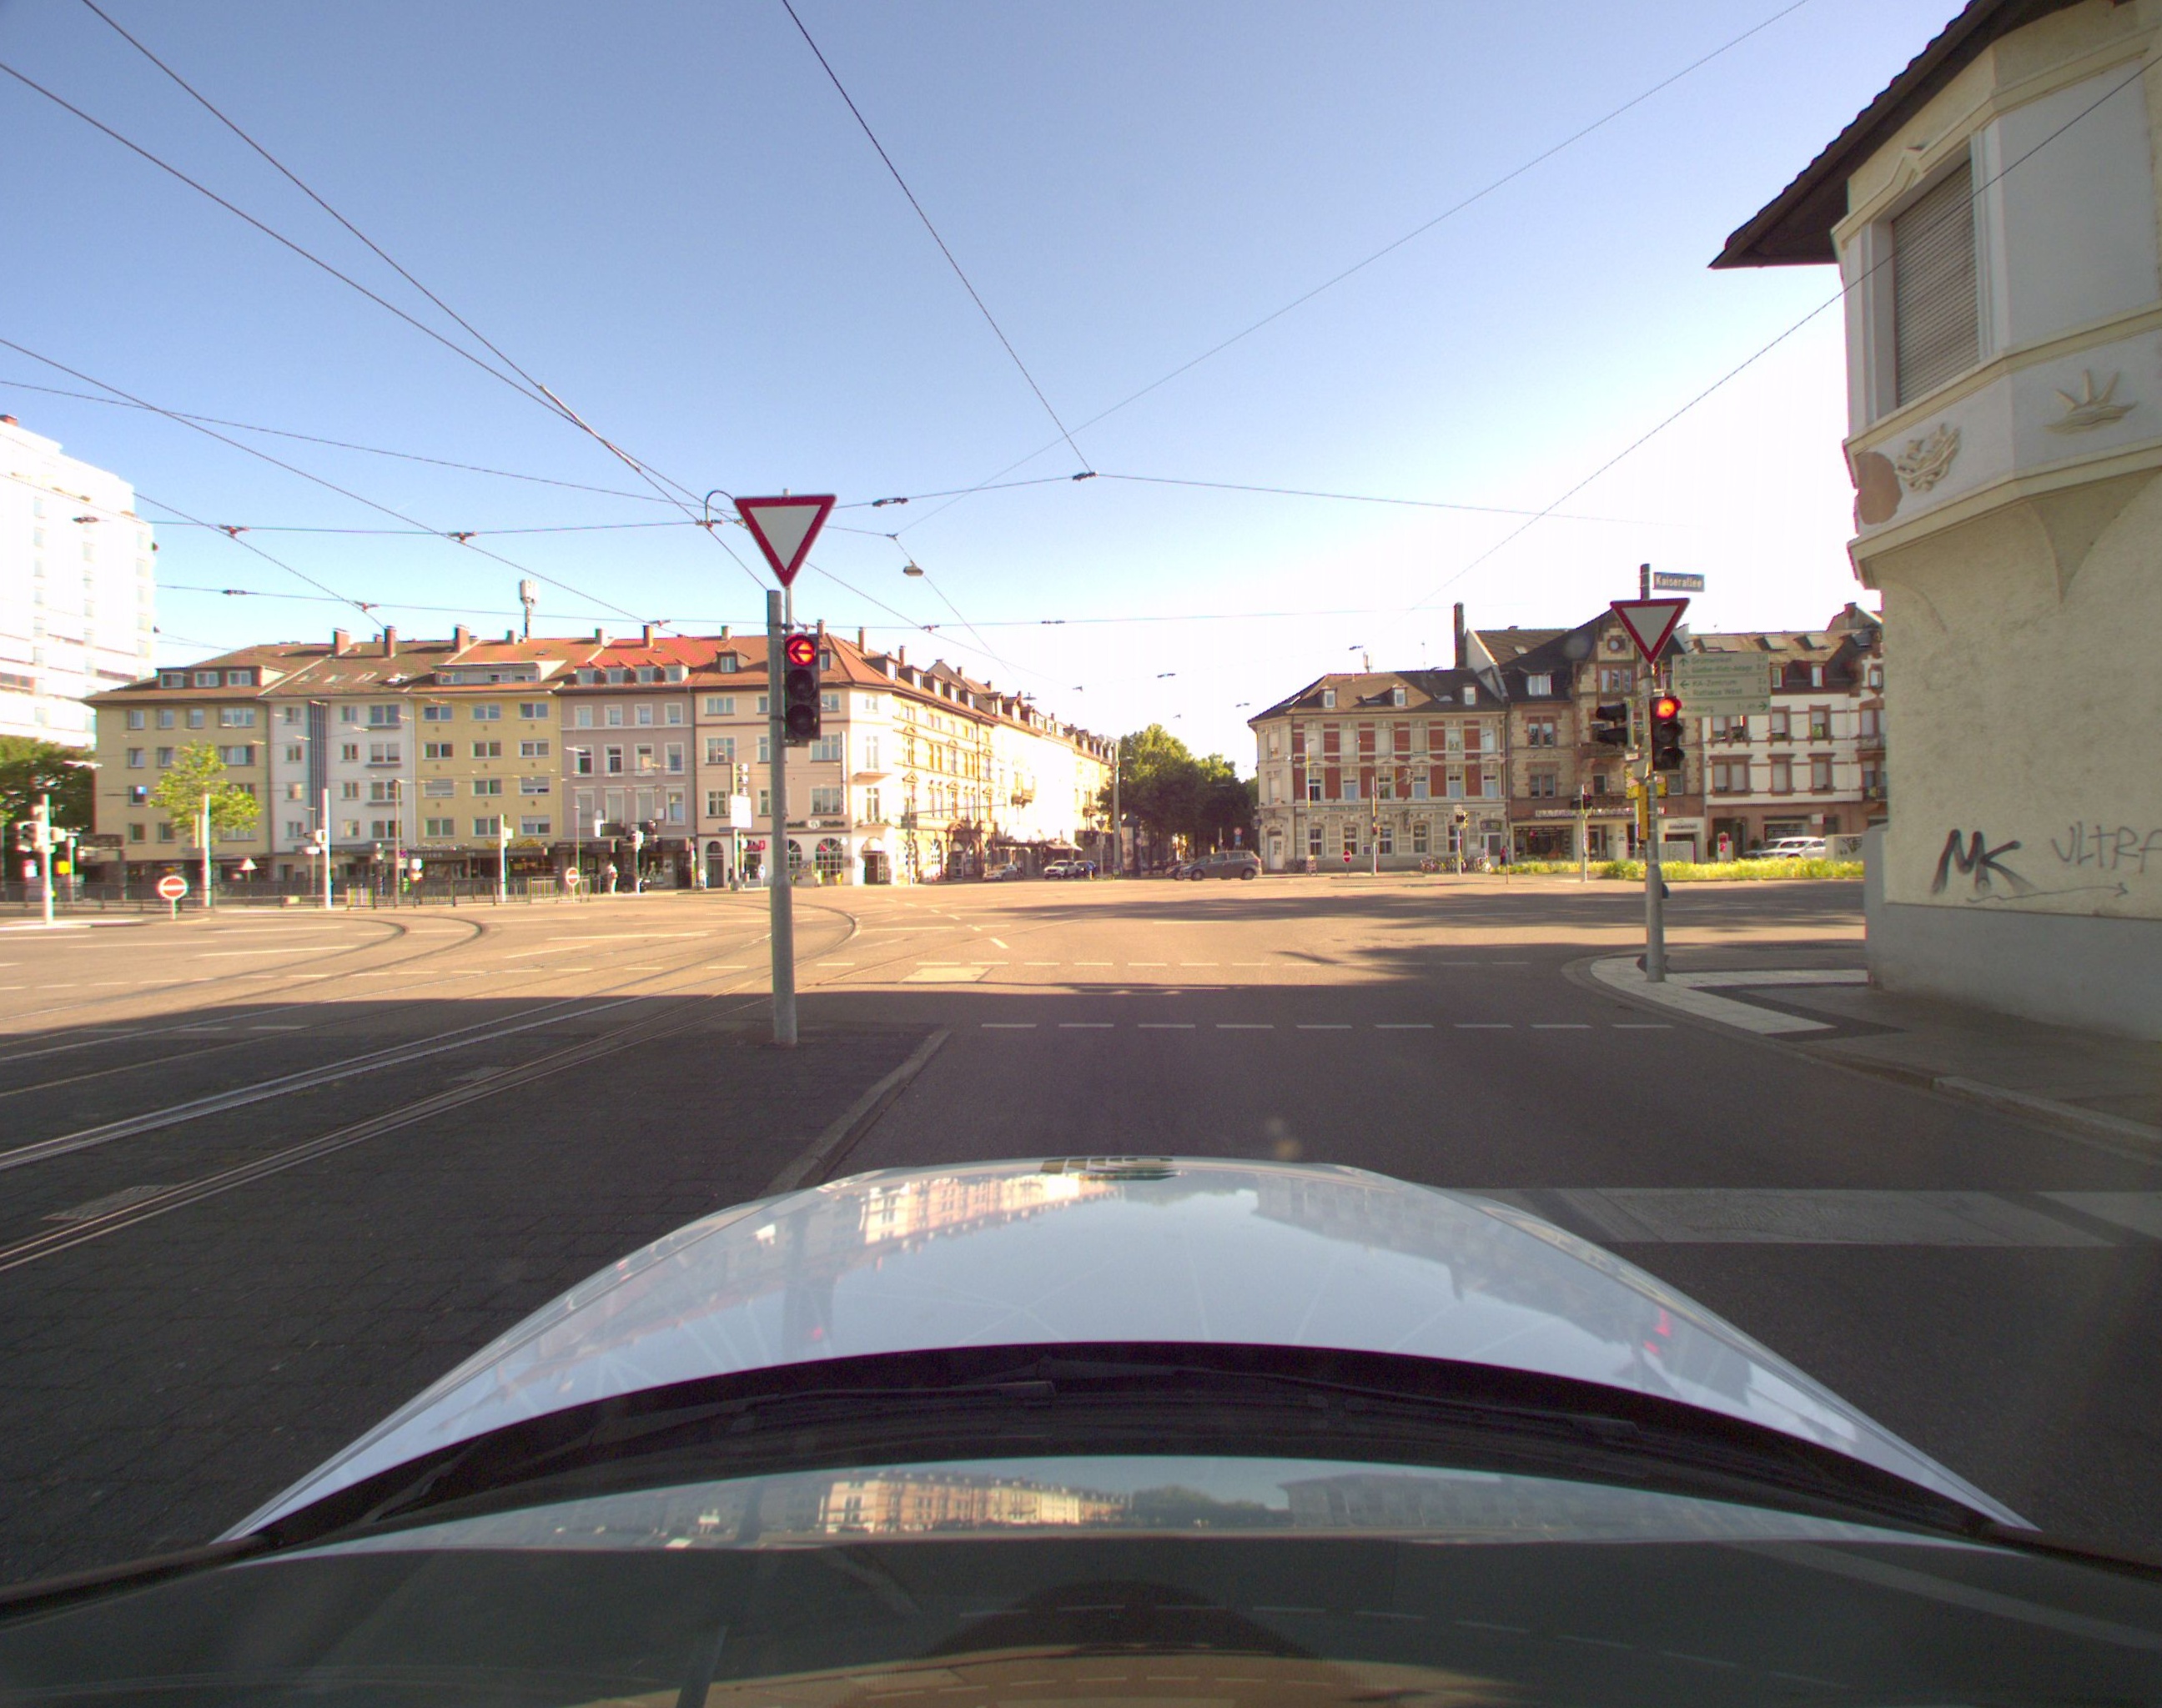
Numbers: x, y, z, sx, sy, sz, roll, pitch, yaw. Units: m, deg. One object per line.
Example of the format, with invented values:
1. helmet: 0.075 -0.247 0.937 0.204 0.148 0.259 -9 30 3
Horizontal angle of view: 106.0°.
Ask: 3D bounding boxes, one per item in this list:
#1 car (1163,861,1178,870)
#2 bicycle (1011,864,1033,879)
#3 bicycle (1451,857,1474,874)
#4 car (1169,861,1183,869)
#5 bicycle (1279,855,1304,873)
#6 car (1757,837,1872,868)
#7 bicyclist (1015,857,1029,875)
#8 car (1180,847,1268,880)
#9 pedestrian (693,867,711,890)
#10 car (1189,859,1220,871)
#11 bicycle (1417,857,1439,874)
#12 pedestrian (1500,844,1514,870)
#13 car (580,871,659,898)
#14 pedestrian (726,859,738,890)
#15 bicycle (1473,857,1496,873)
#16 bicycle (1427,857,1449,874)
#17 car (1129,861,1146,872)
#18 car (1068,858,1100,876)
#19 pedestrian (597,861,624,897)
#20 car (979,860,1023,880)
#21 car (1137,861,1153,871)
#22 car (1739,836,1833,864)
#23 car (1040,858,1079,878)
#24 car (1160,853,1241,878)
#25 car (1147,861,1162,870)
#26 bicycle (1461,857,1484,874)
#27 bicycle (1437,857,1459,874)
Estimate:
1. car: 14.436 1.804 131.461 1.728 1.397 4.141 1 0 16
2. bicycle: -4.769 1.426 65.902 0.745 1.135 2.821 -1 0 16
3. bicycle: 24.640 0.716 52.575 0.603 1.051 1.641 -1 0 -3
4. car: 15.859 1.828 136.209 1.728 1.397 4.141 1 0 16
5. bicycle: 14.696 0.686 56.944 1.625 1.222 0.609 -1 0 18
6. car: 42.800 -0.106 47.594 4.830 1.660 2.001 -1 0 1
7. bicyclist: -4.766 0.983 65.874 0.787 1.375 1.113 -1 0 16
8. car: 7.834 0.515 44.973 4.494 1.672 2.000 -1 0 1
9. pedestrian: -26.219 1.712 56.353 0.787 1.527 0.860 -1 0 2
10. car: 17.482 1.520 114.998 4.078 1.646 1.754 1 0 17
11. bicycle: 22.497 0.734 52.845 0.603 1.051 1.641 -1 0 -3
12. pedestrian: 29.165 0.176 55.814 0.705 1.751 0.421 -1 0 3
13. car: -30.274 1.990 53.533 3.978 1.464 1.998 -2 0 -4
14. pedestrian: -22.777 1.355 53.124 0.506 2.013 0.505 -1 0 5
15. bicycle: 26.054 0.706 52.617 0.603 1.051 1.641 -1 0 -3
16. bicycle: 23.150 0.730 52.875 0.603 1.051 1.641 -1 0 -3
17. car: 7.599 1.645 110.006 1.729 1.397 4.137 1 0 12
18. car: 0.290 1.147 73.696 1.979 1.513 4.015 -1 0 14
19. pedestrian: -24.569 1.308 42.557 0.871 1.818 0.811 -1 0 2
20. car: -6.598 1.300 67.702 2.080 1.545 4.382 -2 0 16
21. car: 9.172 1.680 115.777 1.729 1.397 4.137 1 0 12
22. car: 45.385 -0.238 52.479 4.356 1.654 1.999 -1 0 -2
23. car: -1.731 1.159 67.372 2.080 1.499 4.017 -2 0 16
24. car: 7.026 0.682 48.124 4.496 1.341 2.000 -1 0 0
25. car: 11.059 1.722 122.713 1.729 1.397 4.137 1 0 12
26. bicycle: 25.315 0.712 52.625 0.603 1.051 1.641 -1 0 -3
27. bicycle: 23.814 0.725 52.875 0.603 1.051 1.641 -1 0 -3
